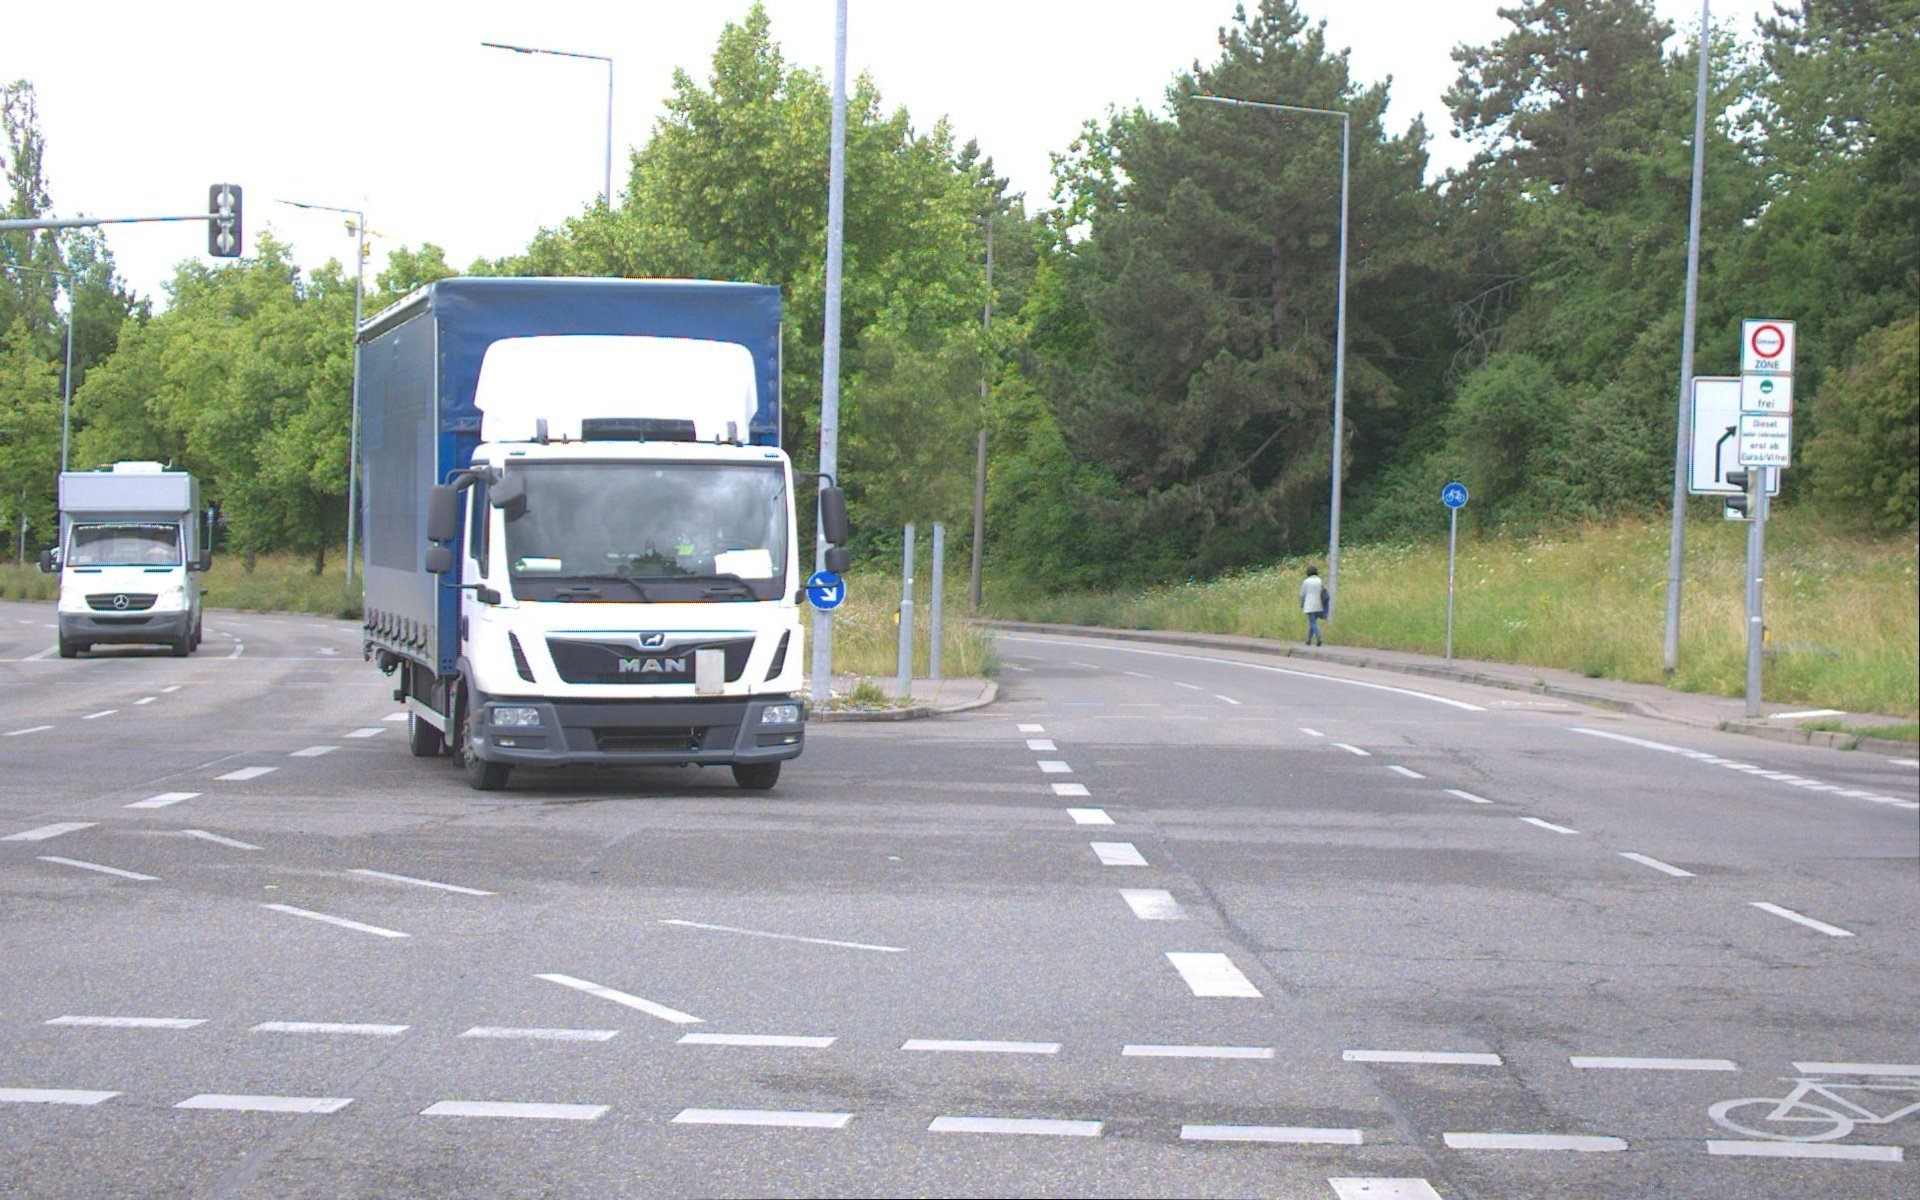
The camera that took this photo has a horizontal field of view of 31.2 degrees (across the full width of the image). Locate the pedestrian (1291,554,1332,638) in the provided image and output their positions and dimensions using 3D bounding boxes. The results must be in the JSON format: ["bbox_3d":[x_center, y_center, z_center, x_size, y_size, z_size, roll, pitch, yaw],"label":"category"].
[{"bbox_3d":[7.202,-0.084,70.482,0.739,1.711,0.625,1,1,0],"label":"pedestrian"}]

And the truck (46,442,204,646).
[{"bbox_3d":[-13.318,-0.890,55.148,2.104,3.000,6.275,-3,1,-12],"label":"truck"}]

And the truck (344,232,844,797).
[{"bbox_3d":[-3.196,-0.626,27.457,2.777,3.791,8.392,1,1,-14],"label":"truck"}]
